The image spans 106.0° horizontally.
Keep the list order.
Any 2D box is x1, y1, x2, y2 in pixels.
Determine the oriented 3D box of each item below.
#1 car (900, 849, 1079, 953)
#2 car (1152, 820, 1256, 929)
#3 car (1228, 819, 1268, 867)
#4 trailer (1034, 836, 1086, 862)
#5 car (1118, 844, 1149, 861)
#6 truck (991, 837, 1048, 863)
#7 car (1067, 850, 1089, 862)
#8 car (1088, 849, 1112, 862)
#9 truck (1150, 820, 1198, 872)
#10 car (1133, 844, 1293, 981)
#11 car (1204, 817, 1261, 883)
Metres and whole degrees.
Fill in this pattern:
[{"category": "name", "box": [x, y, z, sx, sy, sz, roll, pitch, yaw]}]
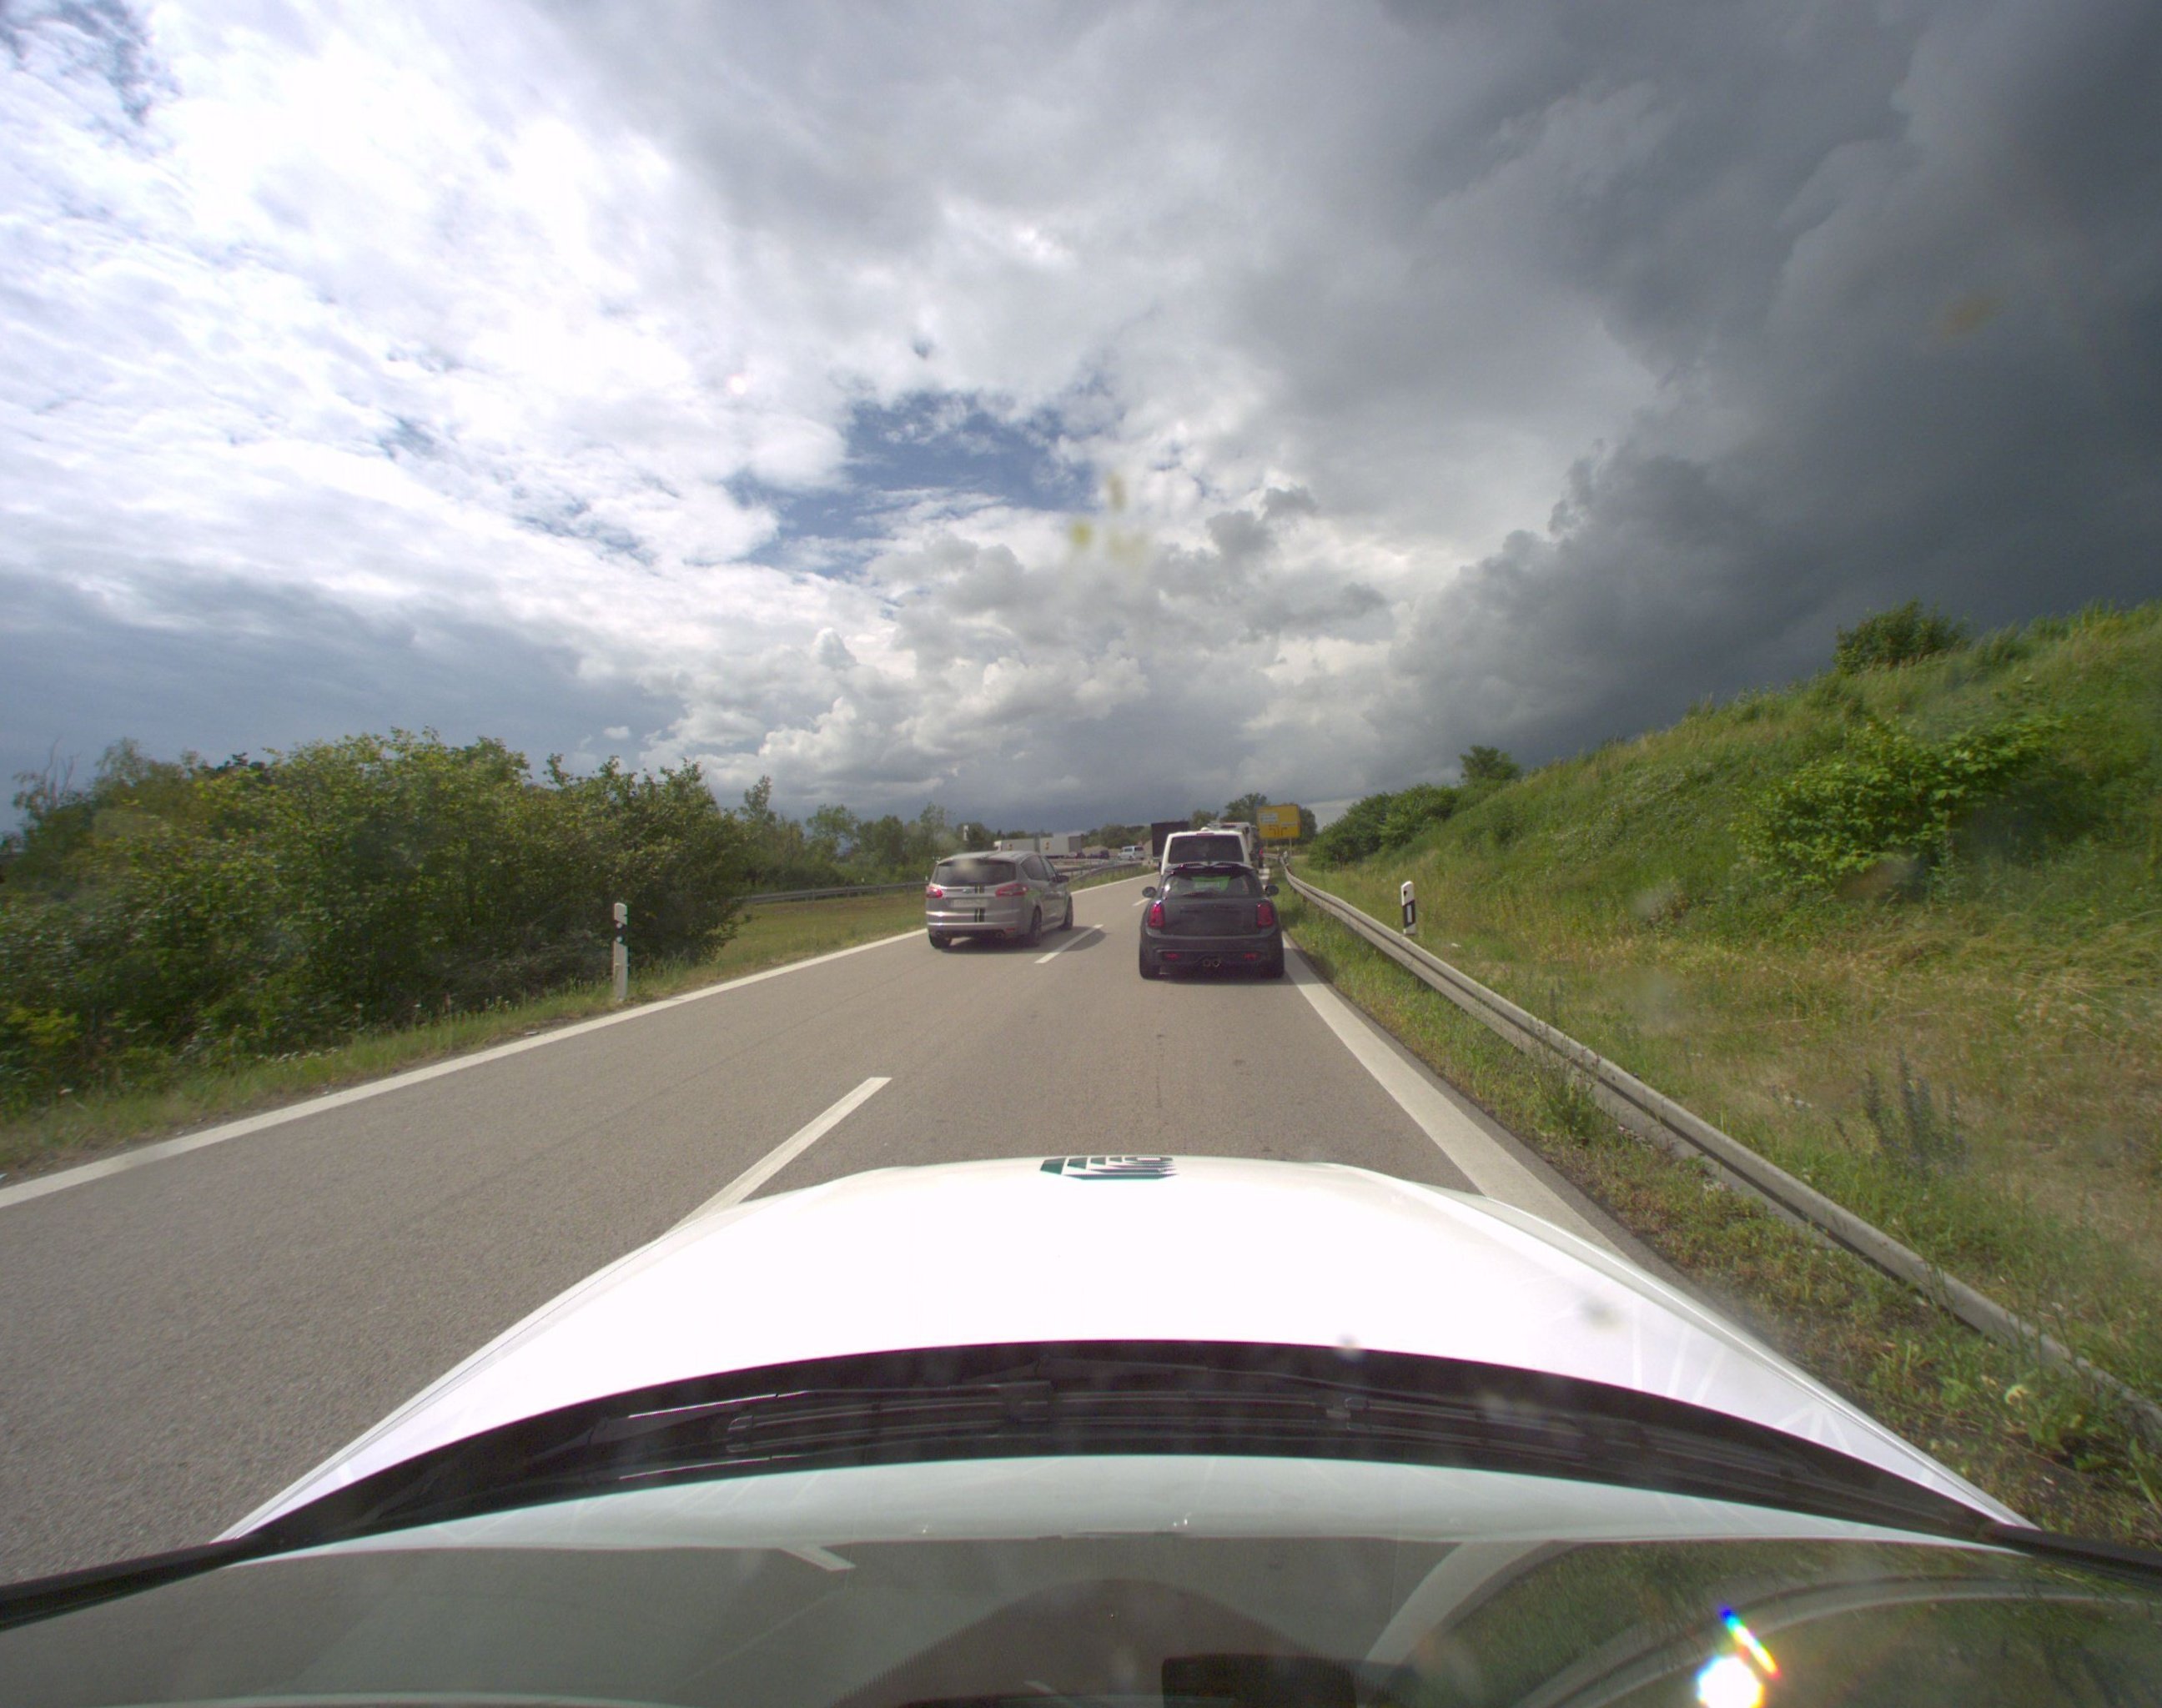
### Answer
[{"category": "car", "box": [-1.464, 0.774, 15.110, 2.008, 1.577, 4.599, -2, -1, 10]}, {"category": "car", "box": [2.710, 0.415, 17.484, 1.899, 2.045, 4.193, -1, -1, 11]}, {"category": "car", "box": [11.494, -0.641, 55.682, 2.294, 3.069, 6.687, -1, -1, 14]}, {"category": "trailer", "box": [-3.366, -0.742, 127.108, 3.063, 3.898, 8.665, 1, -1, -43]}, {"category": "car", "box": [7.223, -0.198, 113.346, 2.299, 2.260, 5.069, 0, -1, -22]}, {"category": "truck", "box": [-10.121, -0.579, 133.369, 9.900, 3.976, 2.863, -1, -1, 39]}, {"category": "car", "box": [-0.472, 0.309, 119.132, 1.821, 1.756, 3.967, 0, -1, -24]}, {"category": "car", "box": [2.818, 0.225, 121.042, 1.930, 1.838, 4.282, 0, -1, -25]}, {"category": "truck", "box": [6.245, -0.417, 53.737, 2.544, 3.168, 7.490, -1, -1, 11]}, {"category": "car", "box": [1.754, 0.679, 11.165, 1.790, 1.546, 3.746, -1, 0, 8]}, {"category": "car", "box": [6.627, -0.113, 35.460, 2.197, 2.622, 5.551, -1, -1, 11]}]
